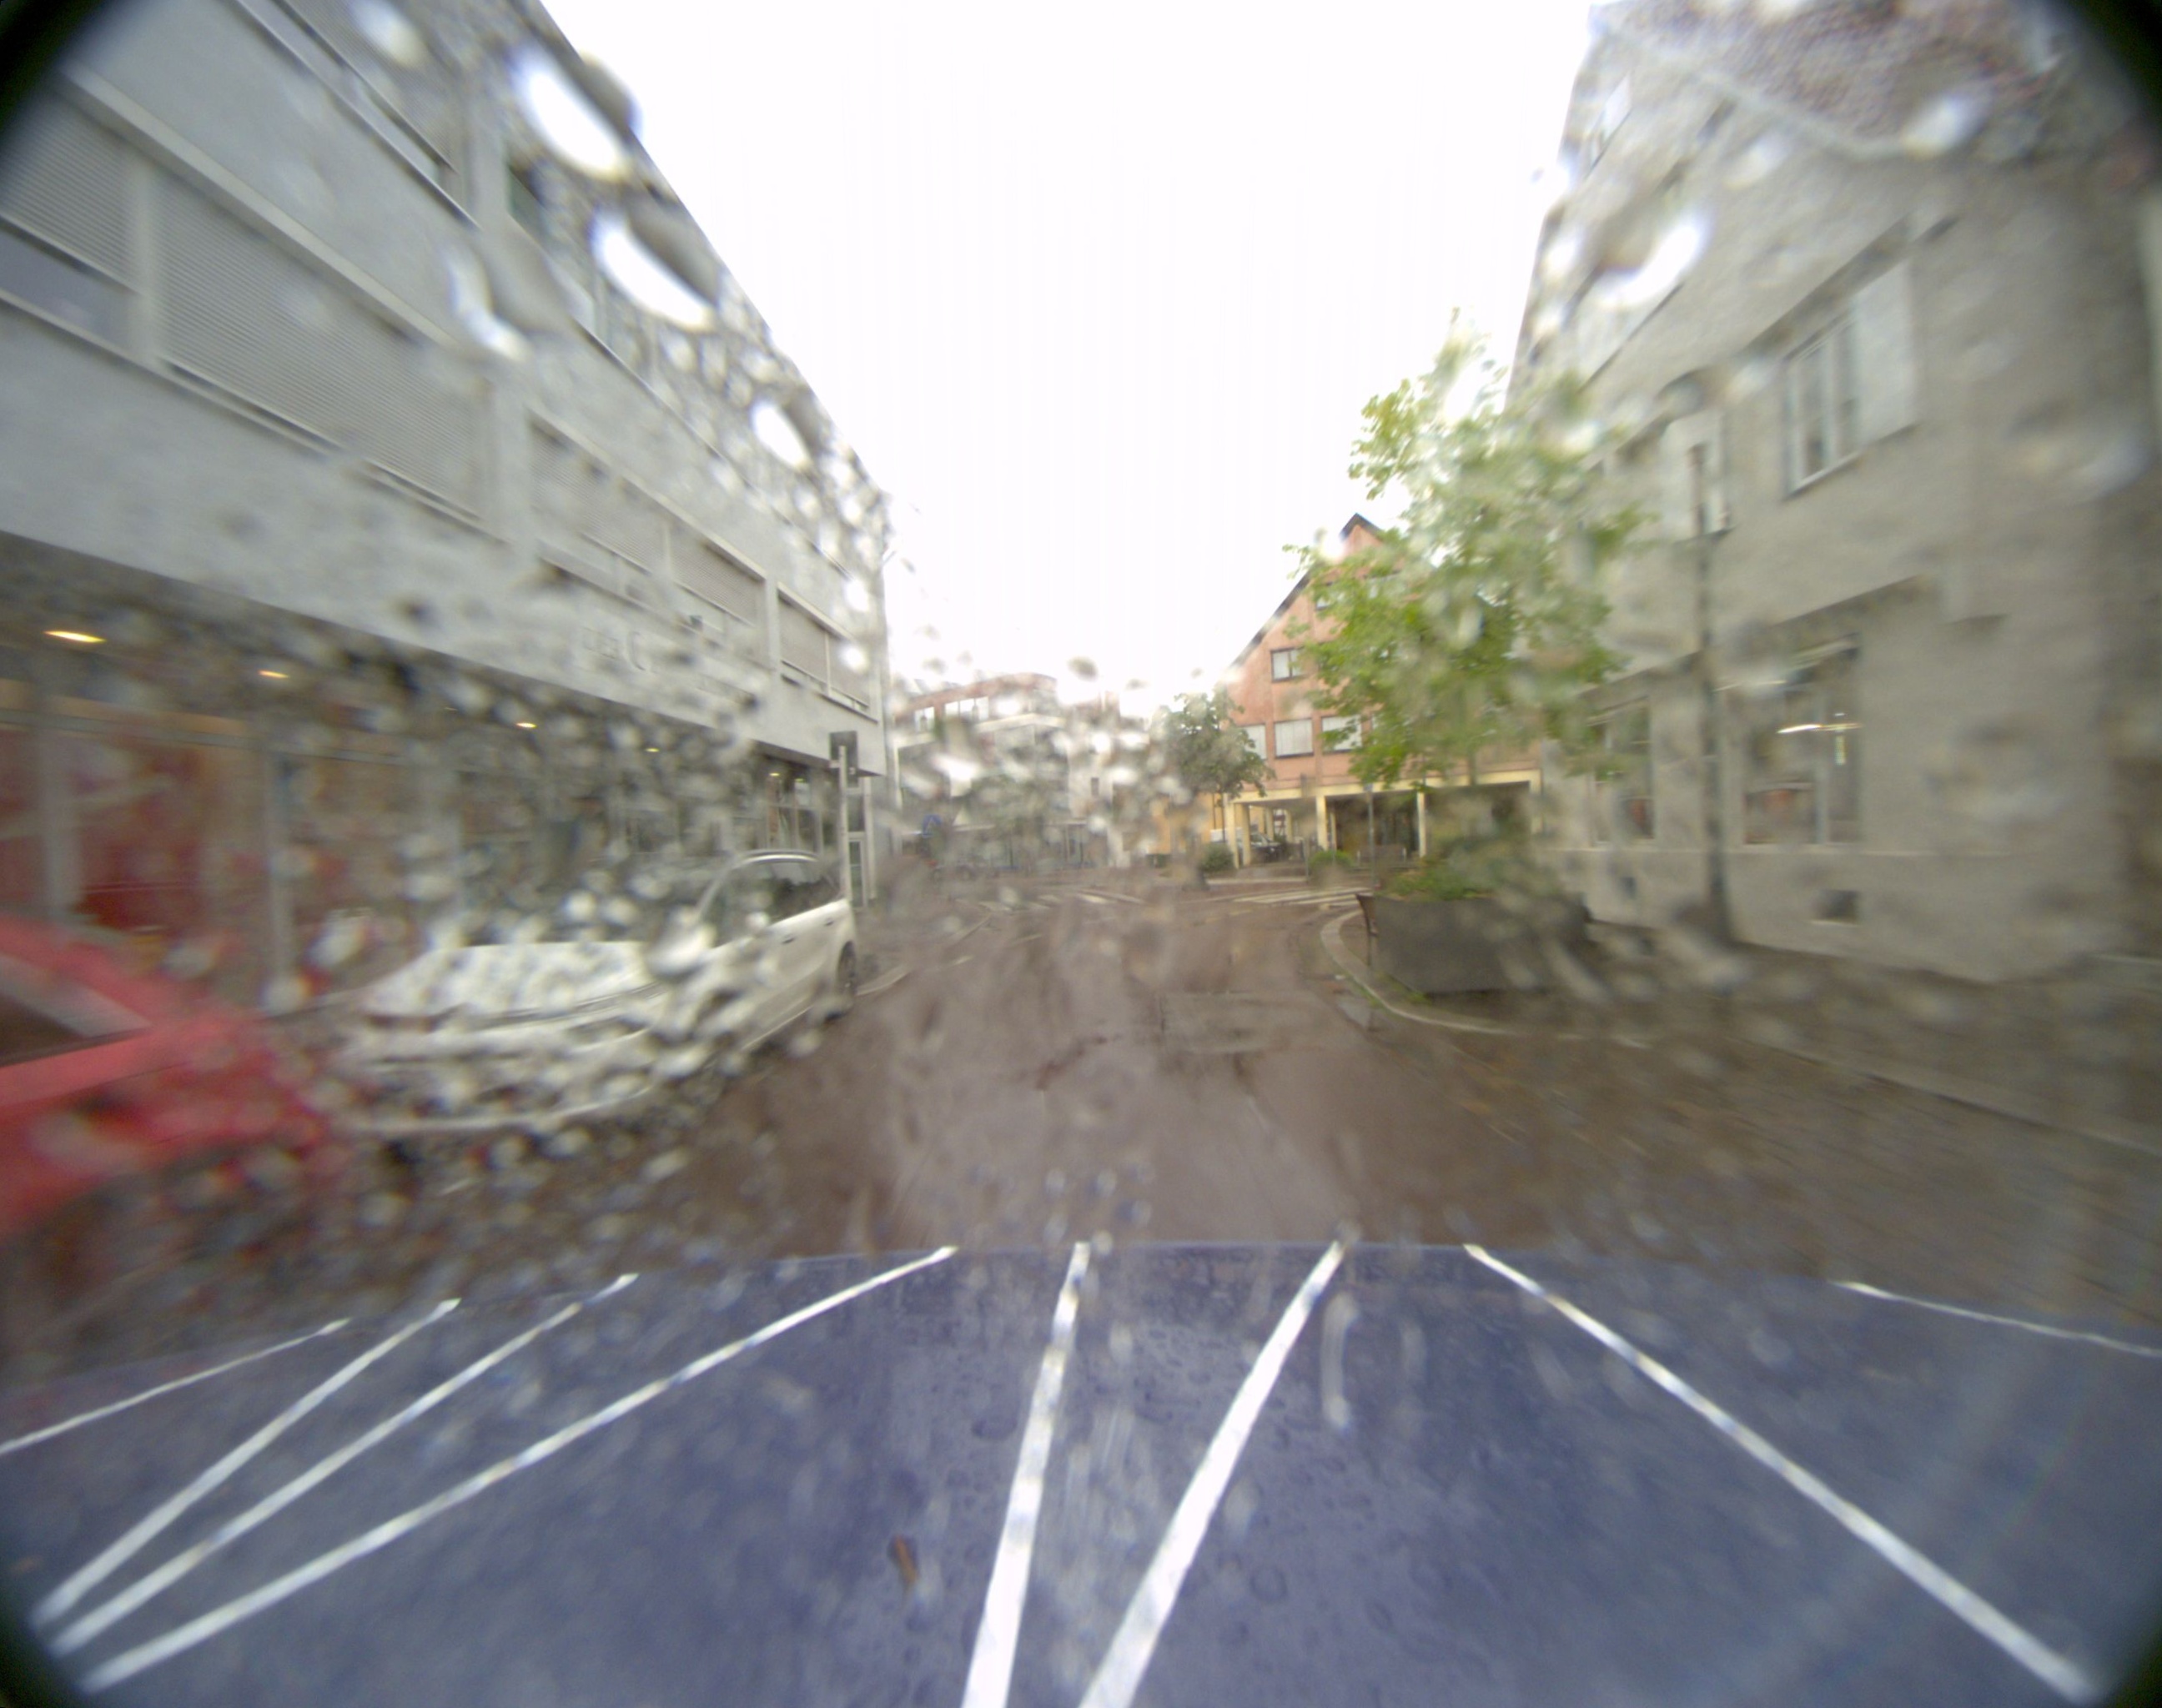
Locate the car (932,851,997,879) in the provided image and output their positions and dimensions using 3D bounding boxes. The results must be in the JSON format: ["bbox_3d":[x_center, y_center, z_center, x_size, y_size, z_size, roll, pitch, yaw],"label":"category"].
[{"bbox_3d":[-6.776,0.655,44.149,3.576,1.428,1.683,-2,3,38],"label":"car"}]

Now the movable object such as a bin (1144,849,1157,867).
[{"bbox_3d":[4.910,0.308,53.619,0.630,1.226,0.524,-2,3,38],"label":"movable object such as a bin"}]

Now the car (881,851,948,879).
[{"bbox_3d":[-10.407,0.700,47.341,3.910,1.546,1.806,-2,3,35],"label":"car"}]

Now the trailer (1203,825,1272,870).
[{"bbox_3d":[8.456,-0.354,41.092,3.086,2.075,1.839,-6,-2,27],"label":"trailer"}]

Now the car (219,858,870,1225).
[{"bbox_3d":[-3.140,0.899,5.813,1.792,1.590,4.439,-3,0,-1],"label":"car"}]

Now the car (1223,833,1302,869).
[{"bbox_3d":[10.428,-0.144,43.670,3.991,1.661,1.839,-6,-2,27],"label":"car"}]

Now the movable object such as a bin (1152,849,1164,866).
[{"bbox_3d":[5.497,0.253,54.257,0.630,1.226,0.524,-2,3,38],"label":"movable object such as a bin"}]

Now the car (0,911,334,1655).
[{"bbox_3d":[-3.173,1.015,0.254,1.792,1.460,3.948,-3,2,1],"label":"car"}]

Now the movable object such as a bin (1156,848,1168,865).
[{"bbox_3d":[5.851,0.171,54.734,0.630,1.226,0.524,-2,3,38],"label":"movable object such as a bin"}]

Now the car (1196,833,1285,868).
[{"bbox_3d":[8.056,-0.161,38.372,3.990,1.500,1.838,-2,2,27],"label":"car"}]
